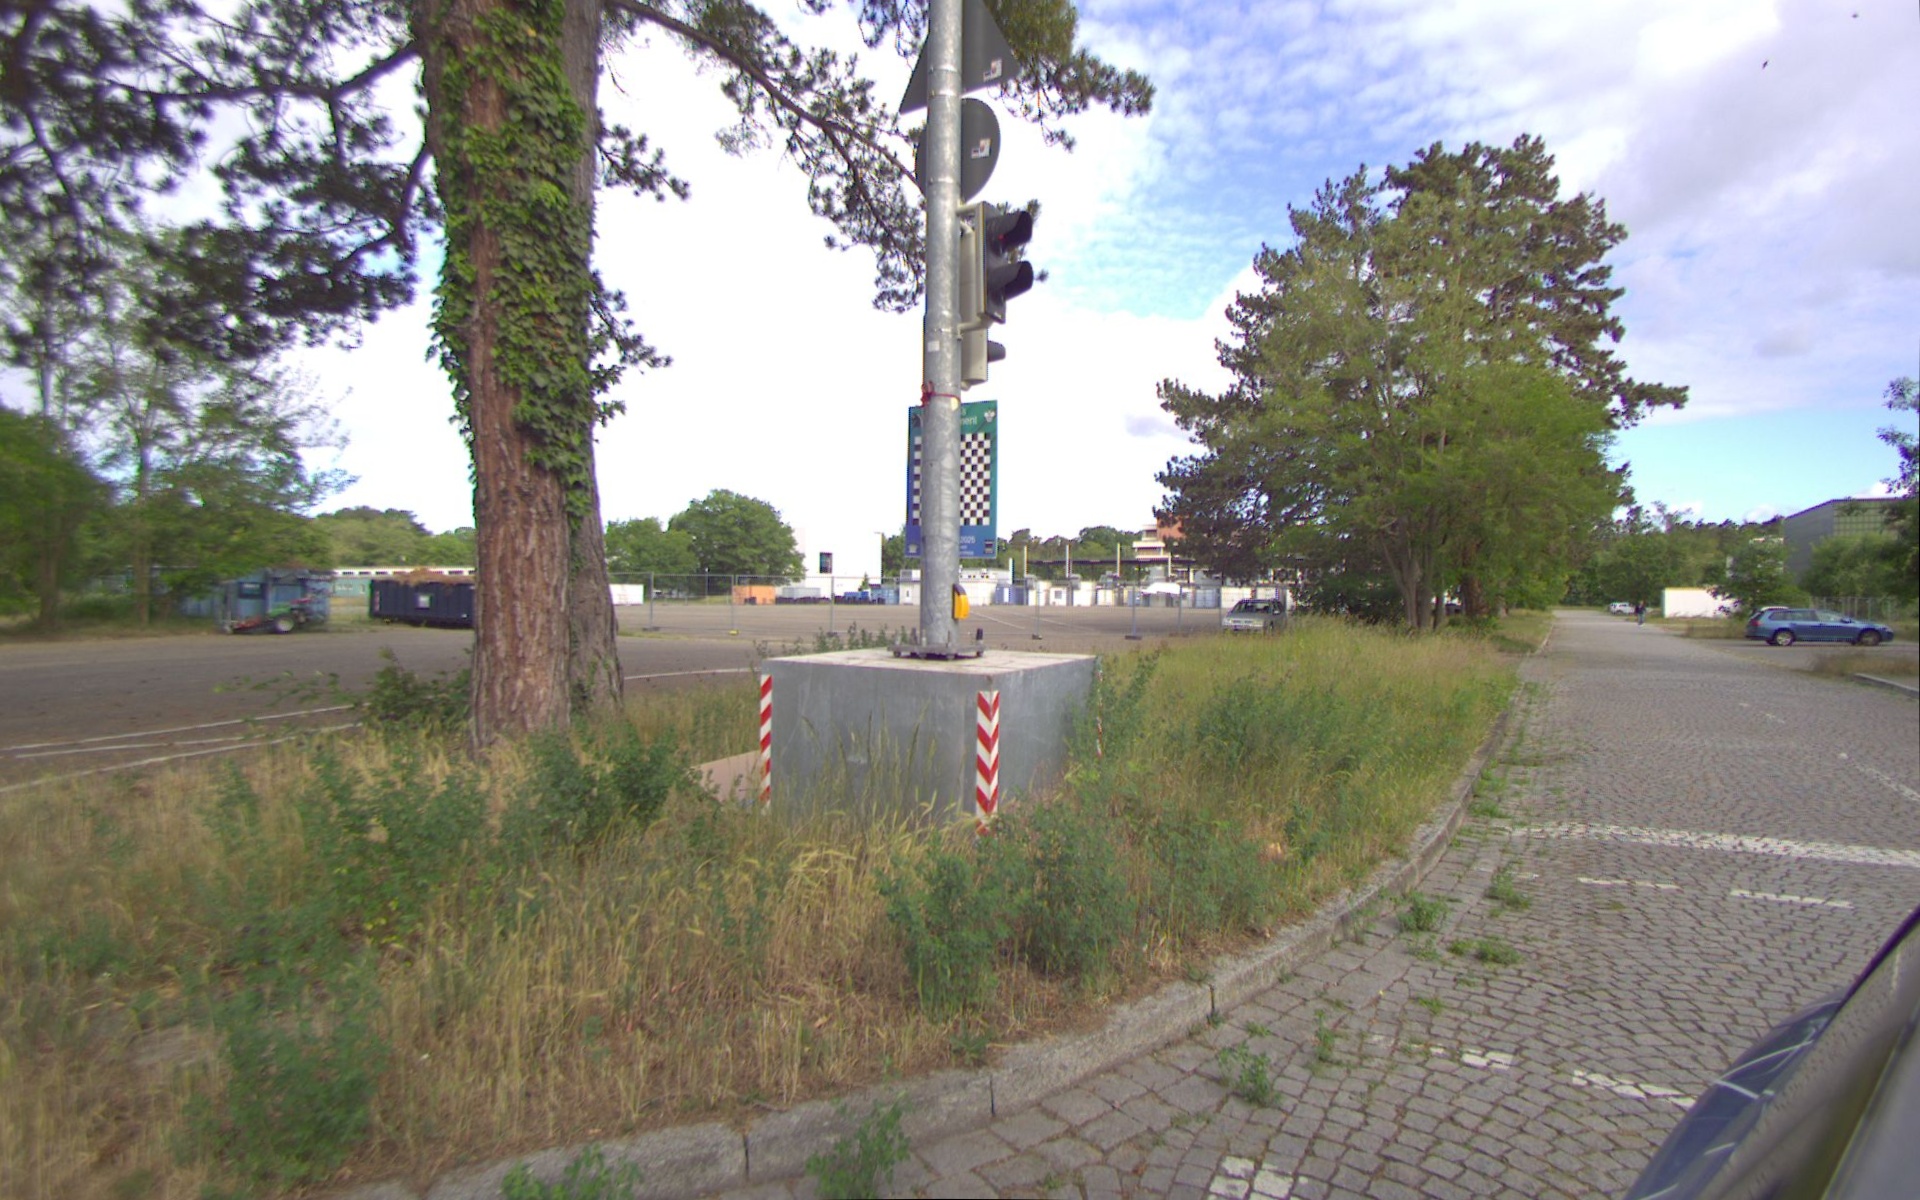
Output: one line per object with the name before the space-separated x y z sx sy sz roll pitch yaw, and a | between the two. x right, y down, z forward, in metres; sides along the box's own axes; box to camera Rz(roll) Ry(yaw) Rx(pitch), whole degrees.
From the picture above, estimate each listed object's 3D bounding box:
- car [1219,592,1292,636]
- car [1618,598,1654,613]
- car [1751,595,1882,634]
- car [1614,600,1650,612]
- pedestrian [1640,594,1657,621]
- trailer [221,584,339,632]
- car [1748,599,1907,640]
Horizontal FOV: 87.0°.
car | 10.896 0.471 37.179 1.847 1.493 4.112 1 1 27
car | 91.699 0.717 137.329 4.054 1.862 1.764 1 0 35
car | 38.444 0.656 45.581 4.158 1.607 1.819 -2 -1 30
car | 92.570 0.852 139.433 4.054 1.594 1.764 1 0 34
pedestrian | 45.867 0.494 67.434 0.871 1.745 0.993 1 0 37
trailer | -17.701 0.215 26.413 1.134 1.185 2.295 0 -1 30
car | 33.929 0.758 39.741 4.378 1.482 1.819 -2 -1 30
